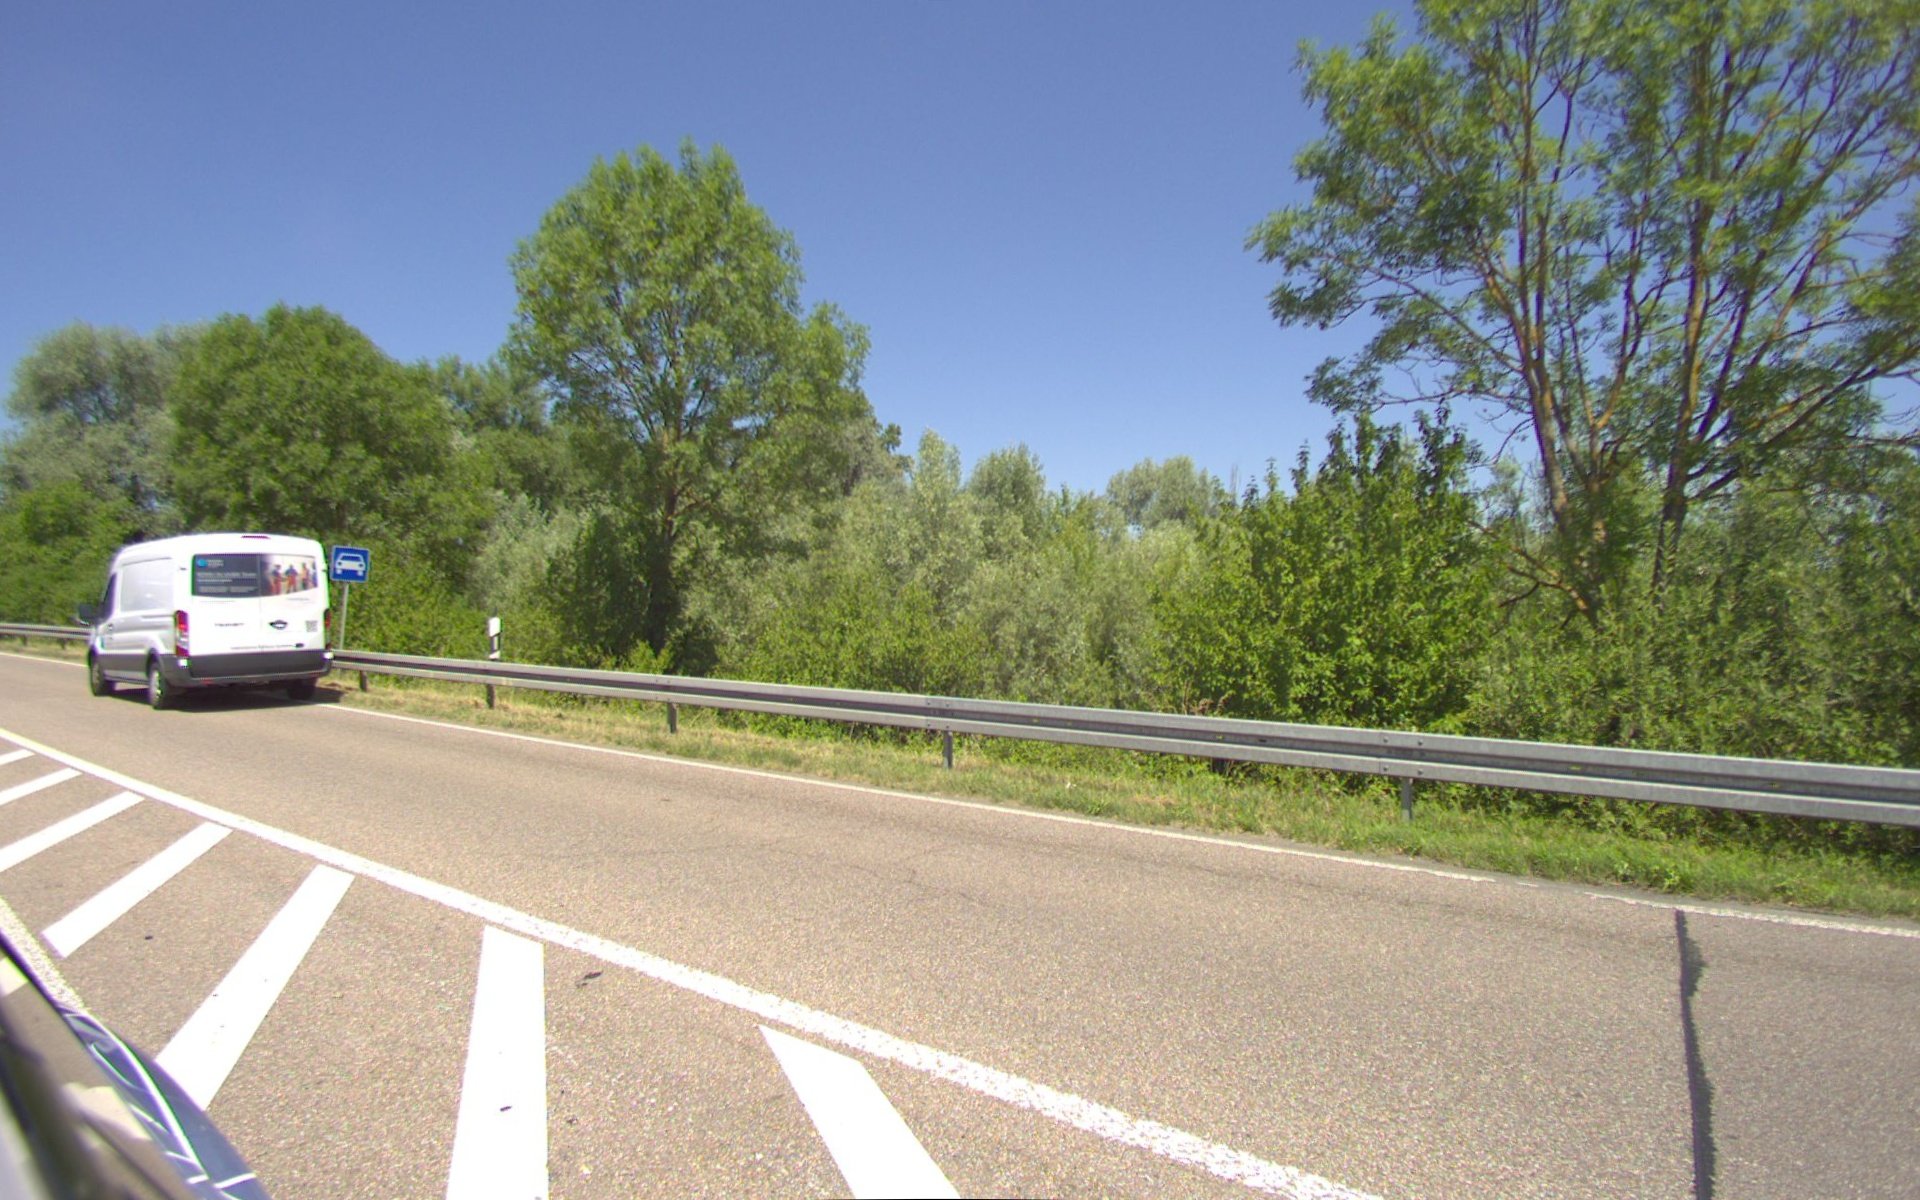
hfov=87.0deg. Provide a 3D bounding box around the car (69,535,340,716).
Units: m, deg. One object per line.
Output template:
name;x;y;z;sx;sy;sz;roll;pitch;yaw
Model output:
car;-12.124;0.369;16.081;5.581;2.435;1.975;0;-1;37
